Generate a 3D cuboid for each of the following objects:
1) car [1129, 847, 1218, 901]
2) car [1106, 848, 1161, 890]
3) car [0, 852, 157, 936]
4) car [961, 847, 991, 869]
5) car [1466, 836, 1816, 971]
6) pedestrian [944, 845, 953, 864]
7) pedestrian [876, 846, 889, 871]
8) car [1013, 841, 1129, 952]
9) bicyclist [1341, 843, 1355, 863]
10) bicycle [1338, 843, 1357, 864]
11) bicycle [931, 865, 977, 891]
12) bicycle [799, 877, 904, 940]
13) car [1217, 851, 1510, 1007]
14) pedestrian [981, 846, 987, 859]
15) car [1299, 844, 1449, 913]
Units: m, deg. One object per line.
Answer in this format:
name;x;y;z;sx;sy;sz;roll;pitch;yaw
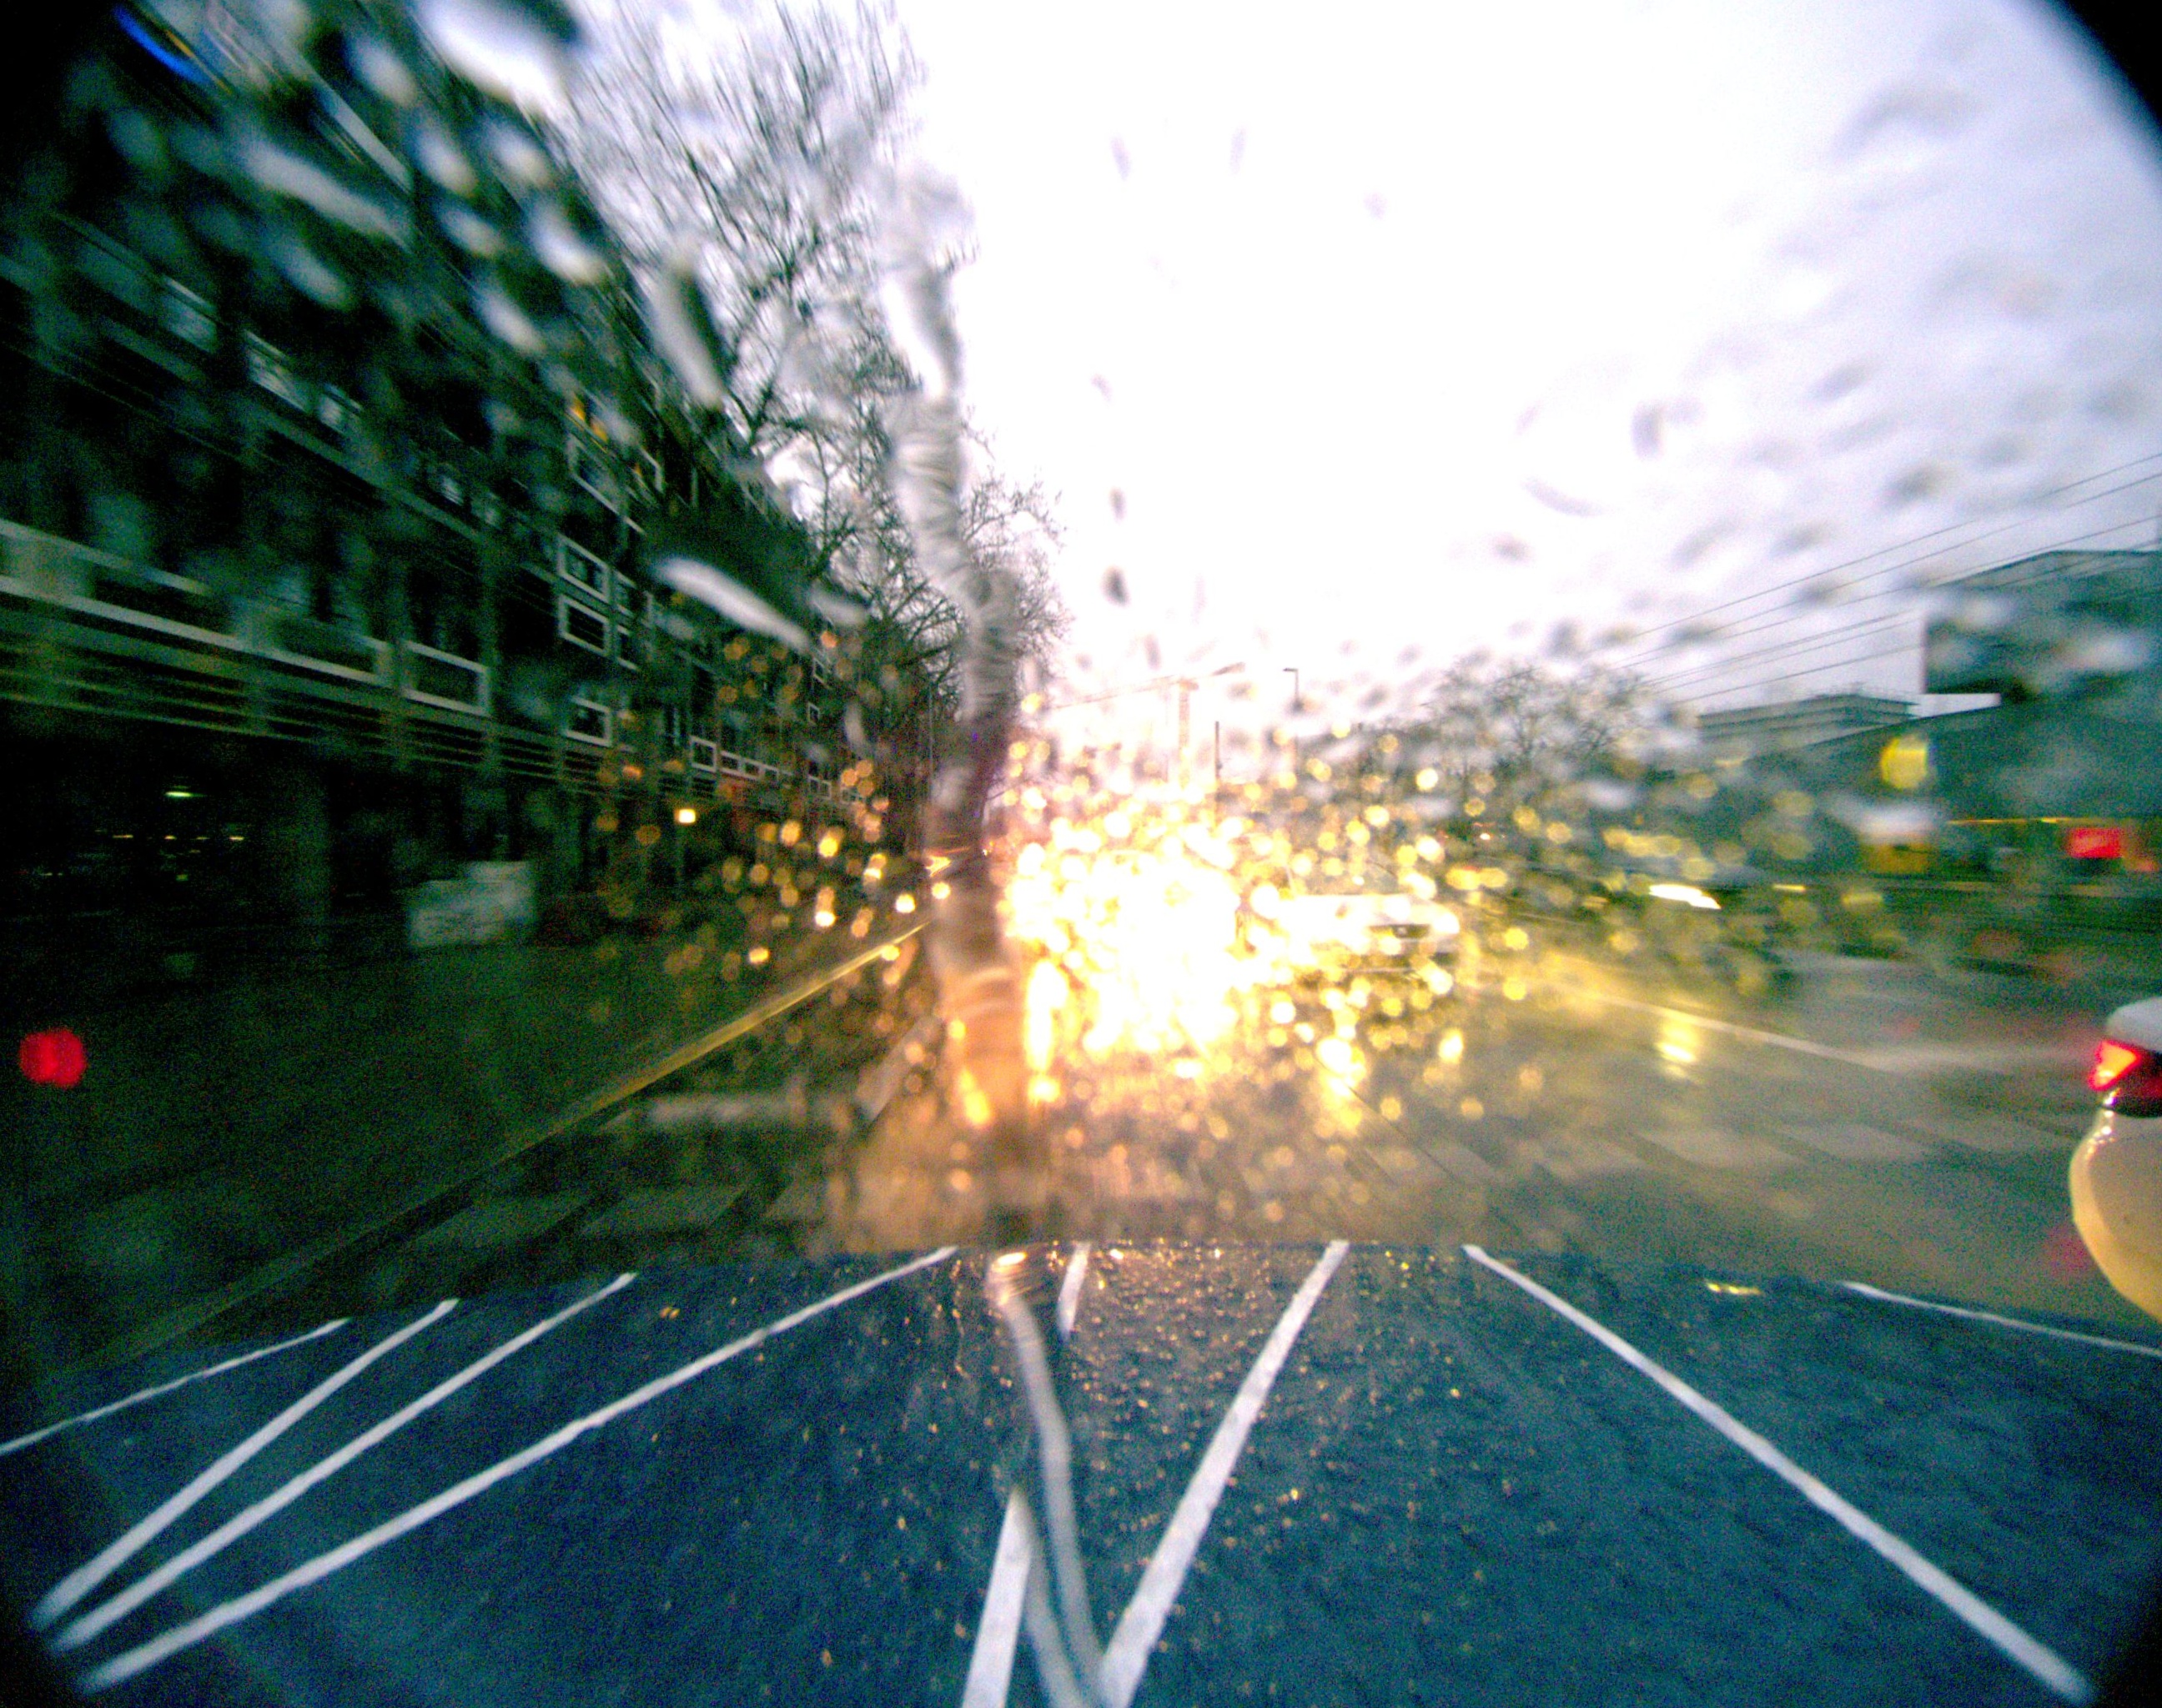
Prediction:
car;2.737;0.552;23.597;1.999;1.478;4.503;0;1;-3
car;2.162;0.578;32.317;1.907;1.565;3.998;-2;1;-1
car;-18.330;0.658;12.233;1.999;1.302;3.999;1;1;0
car;-7.717;0.263;56.359;1.713;1.455;3.998;-1;1;-1
car;7.736;0.539;11.173;1.972;1.575;4.288;-1;1;0
pedestrian;-12.325;0.053;70.562;0.767;1.740;0.927;0;2;-6
pedestrian;-14.269;0.308;54.699;0.767;1.740;0.927;0;2;-6
car;-0.336;0.686;14.931;1.879;1.831;3.997;-2;1;-6
bicyclist;23.047;-0.100;65.623;0.763;1.723;0.960;-2;3;-4
bicycle;23.040;-0.092;65.715;0.763;1.723;2.062;-2;3;-4
bicycle;-5.151;0.970;30.840;1.704;0.987;0.879;1;1;-2
bicycle;-4.399;1.037;14.631;1.811;1.124;0.640;1;0;-2
car;3.303;0.749;10.014;1.949;1.478;4.503;-2;1;-3
pedestrian;-12.494;-0.223;98.183;0.767;1.740;0.927;0;2;-6
car;7.346;0.536;19.621;1.854;1.499;4.661;-1;1;-3
